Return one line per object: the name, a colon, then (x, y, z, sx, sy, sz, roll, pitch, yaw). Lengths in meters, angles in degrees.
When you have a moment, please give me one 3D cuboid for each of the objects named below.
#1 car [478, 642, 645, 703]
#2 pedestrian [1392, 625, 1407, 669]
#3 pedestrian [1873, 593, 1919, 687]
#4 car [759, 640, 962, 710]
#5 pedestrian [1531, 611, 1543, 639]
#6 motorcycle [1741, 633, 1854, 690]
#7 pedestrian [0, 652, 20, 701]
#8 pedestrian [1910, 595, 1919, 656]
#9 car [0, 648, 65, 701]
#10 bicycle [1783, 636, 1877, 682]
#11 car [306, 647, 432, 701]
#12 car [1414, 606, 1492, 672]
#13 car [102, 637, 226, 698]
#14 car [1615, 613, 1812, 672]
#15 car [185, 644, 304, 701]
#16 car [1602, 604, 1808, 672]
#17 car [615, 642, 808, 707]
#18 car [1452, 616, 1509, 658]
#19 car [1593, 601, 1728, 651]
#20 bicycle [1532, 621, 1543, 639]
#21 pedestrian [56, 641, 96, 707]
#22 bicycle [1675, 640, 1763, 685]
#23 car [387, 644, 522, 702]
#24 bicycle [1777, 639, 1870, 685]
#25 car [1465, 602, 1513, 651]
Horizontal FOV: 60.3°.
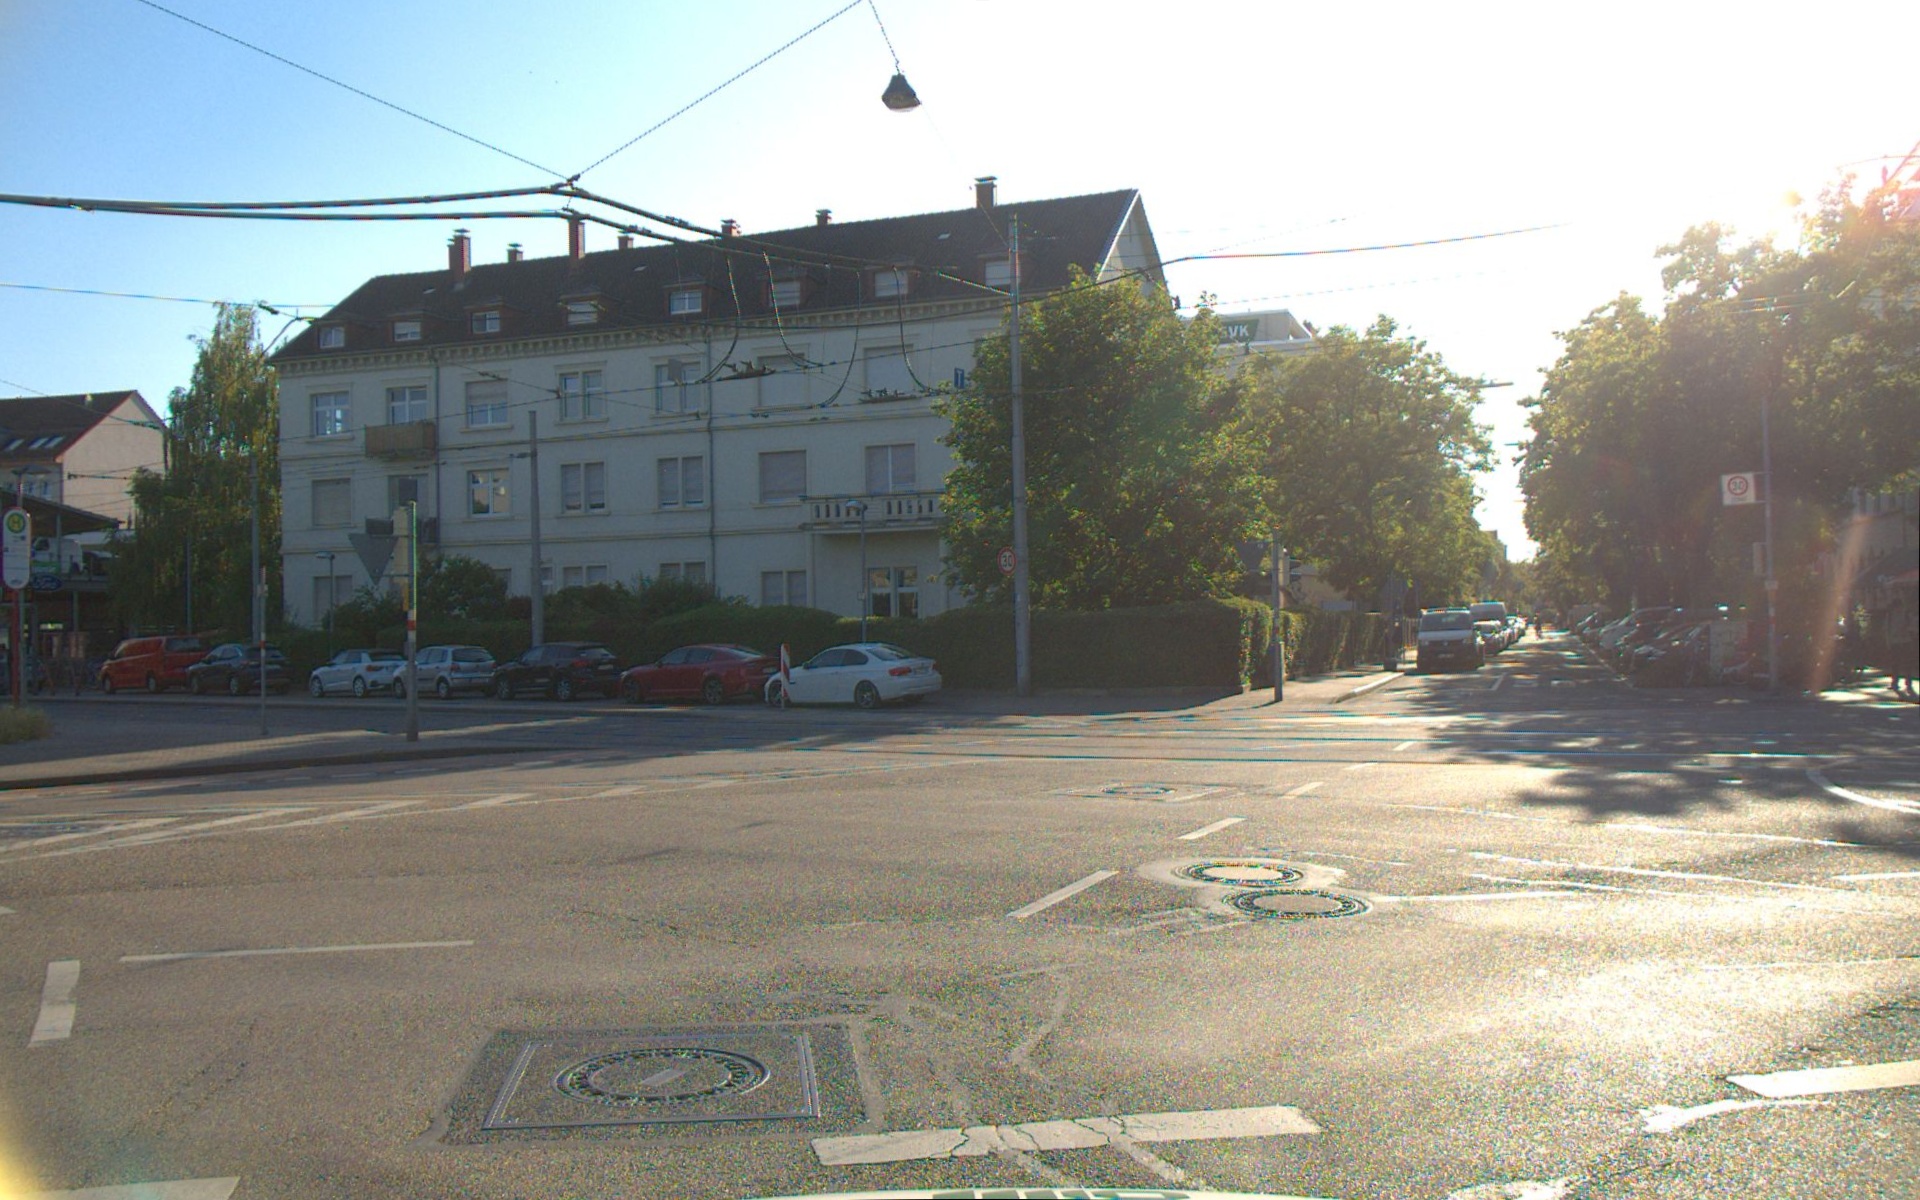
car: (-10.780, 1.939, 44.601, 4.617, 1.472, 1.977, -2, 1, 40)
pedestrian: (17.811, 1.890, 67.018, 0.566, 1.761, 0.608, -1, -2, 14)
pedestrian: (18.110, 0.770, 31.903, 0.680, 1.781, 0.790, -2, -2, 40)
car: (-2.294, 1.682, 37.547, 4.409, 1.400, 1.922, -2, 1, 38)
pedestrian: (42.059, 1.823, 120.614, 0.721, 2.049, 0.743, -2, -2, 20)
motorcycle: (17.287, 1.266, 34.195, 1.910, 1.129, 0.838, -2, -2, 14)
pedestrian: (-30.550, 2.449, 53.057, 0.562, 1.527, 0.669, 0, -2, -38)
pedestrian: (32.281, 0.851, 55.472, 0.524, 2.049, 0.512, -1, -1, 12)
car: (-39.172, 3.051, 68.338, 5.054, 1.996, 2.047, -2, 1, 40)
bicycle: (18.564, 1.266, 35.333, 1.687, 0.949, 0.562, -2, -1, 19)
car: (-17.915, 2.236, 50.112, 3.884, 1.472, 1.836, -2, 1, 40)
car: (16.384, 1.273, 55.036, 2.305, 2.049, 5.312, -2, -1, 16)
car: (-28.509, 2.411, 59.186, 5.054, 1.996, 2.047, -2, 1, 40)
car: (22.203, 1.291, 48.990, 4.982, 1.584, 2.363, -2, -3, 17)
car: (-23.794, 2.395, 54.942, 4.288, 1.697, 1.836, -2, 1, 40)
car: (23.052, 1.228, 51.441, 5.501, 1.958, 2.363, -2, -3, 17)
car: (-6.171, 1.834, 40.880, 4.609, 1.400, 1.981, -2, 1, 35)
car: (23.597, 1.666, 75.107, 2.305, 1.826, 5.312, -2, -1, 16)
car: (29.655, 1.137, 70.218, 4.982, 1.958, 2.363, -2, -3, 17)
bicycle: (42.100, 2.184, 120.608, 0.750, 1.347, 1.924, -2, -1, 19)
pedestrian: (-28.009, 2.334, 52.414, 0.756, 2.049, 0.918, -3, -2, 44)
bicycle: (16.746, 1.380, 36.519, 1.687, 0.949, 0.672, -2, -1, 19)
car: (-14.434, 2.074, 47.215, 3.649, 1.472, 1.977, -2, 1, 39)
bicycle: (18.810, 1.348, 36.059, 1.687, 0.949, 0.562, -2, -1, 19)
car: (28.773, 1.454, 90.126, 2.305, 2.559, 5.312, -2, -1, 16)
